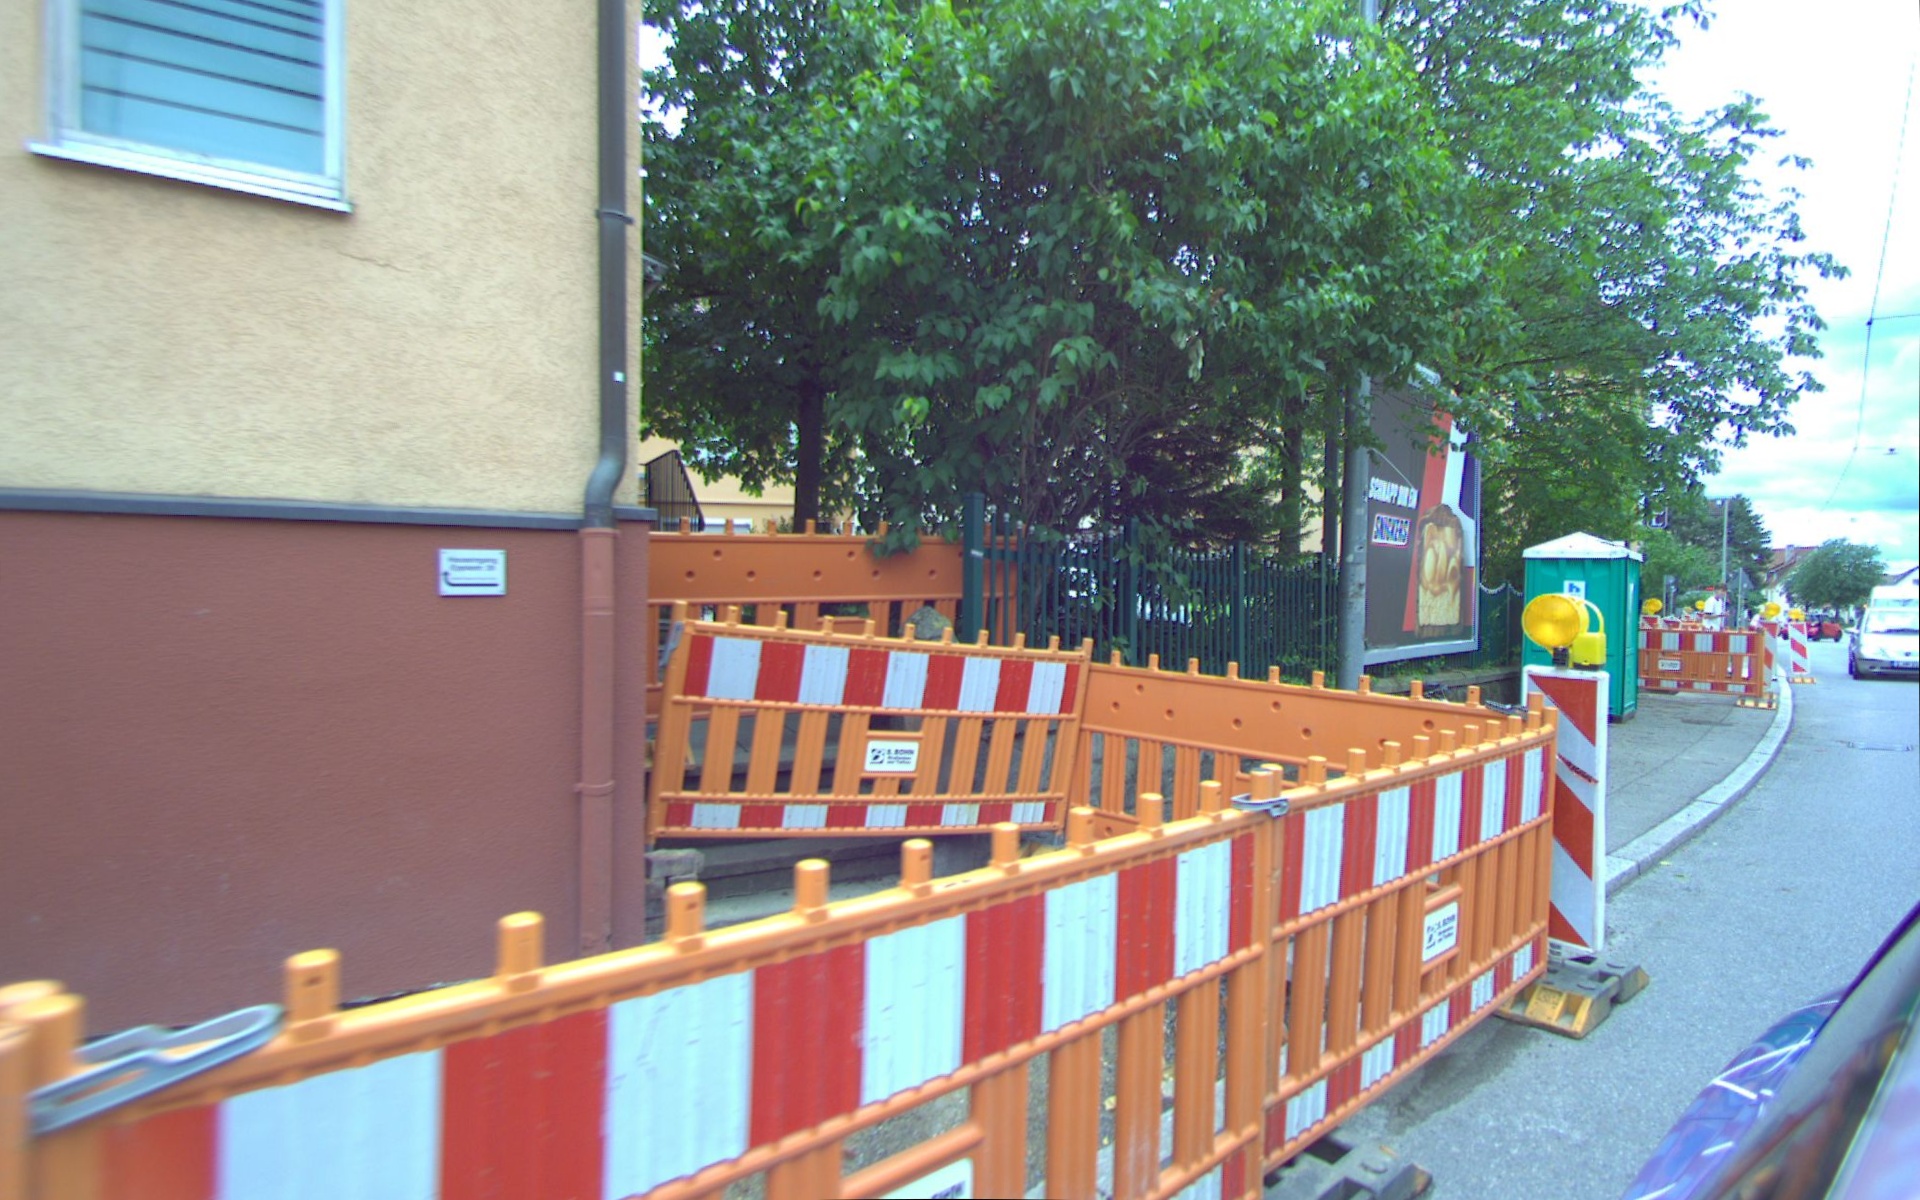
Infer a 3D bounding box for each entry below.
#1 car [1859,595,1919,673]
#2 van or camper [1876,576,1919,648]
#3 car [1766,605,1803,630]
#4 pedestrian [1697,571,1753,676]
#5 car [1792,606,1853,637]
[{"bbox_3d":[21.408,0.748,22.569,1.852,1.576,4.288,3,1,40],"label":"car"},{"bbox_3d":[37.495,0.489,39.529,2.320,2.640,6.109,3,1,44],"label":"van or camper"},{"bbox_3d":[55.268,1.161,67.835,1.714,1.499,3.939,3,1,42],"label":"car"},{"bbox_3d":[14.898,0.440,19.719,0.796,1.974,0.825,3,1,38],"label":"pedestrian"},{"bbox_3d":[46.560,1.163,54.612,2.883,1.539,1.821,1,1,-35],"label":"car"}]
